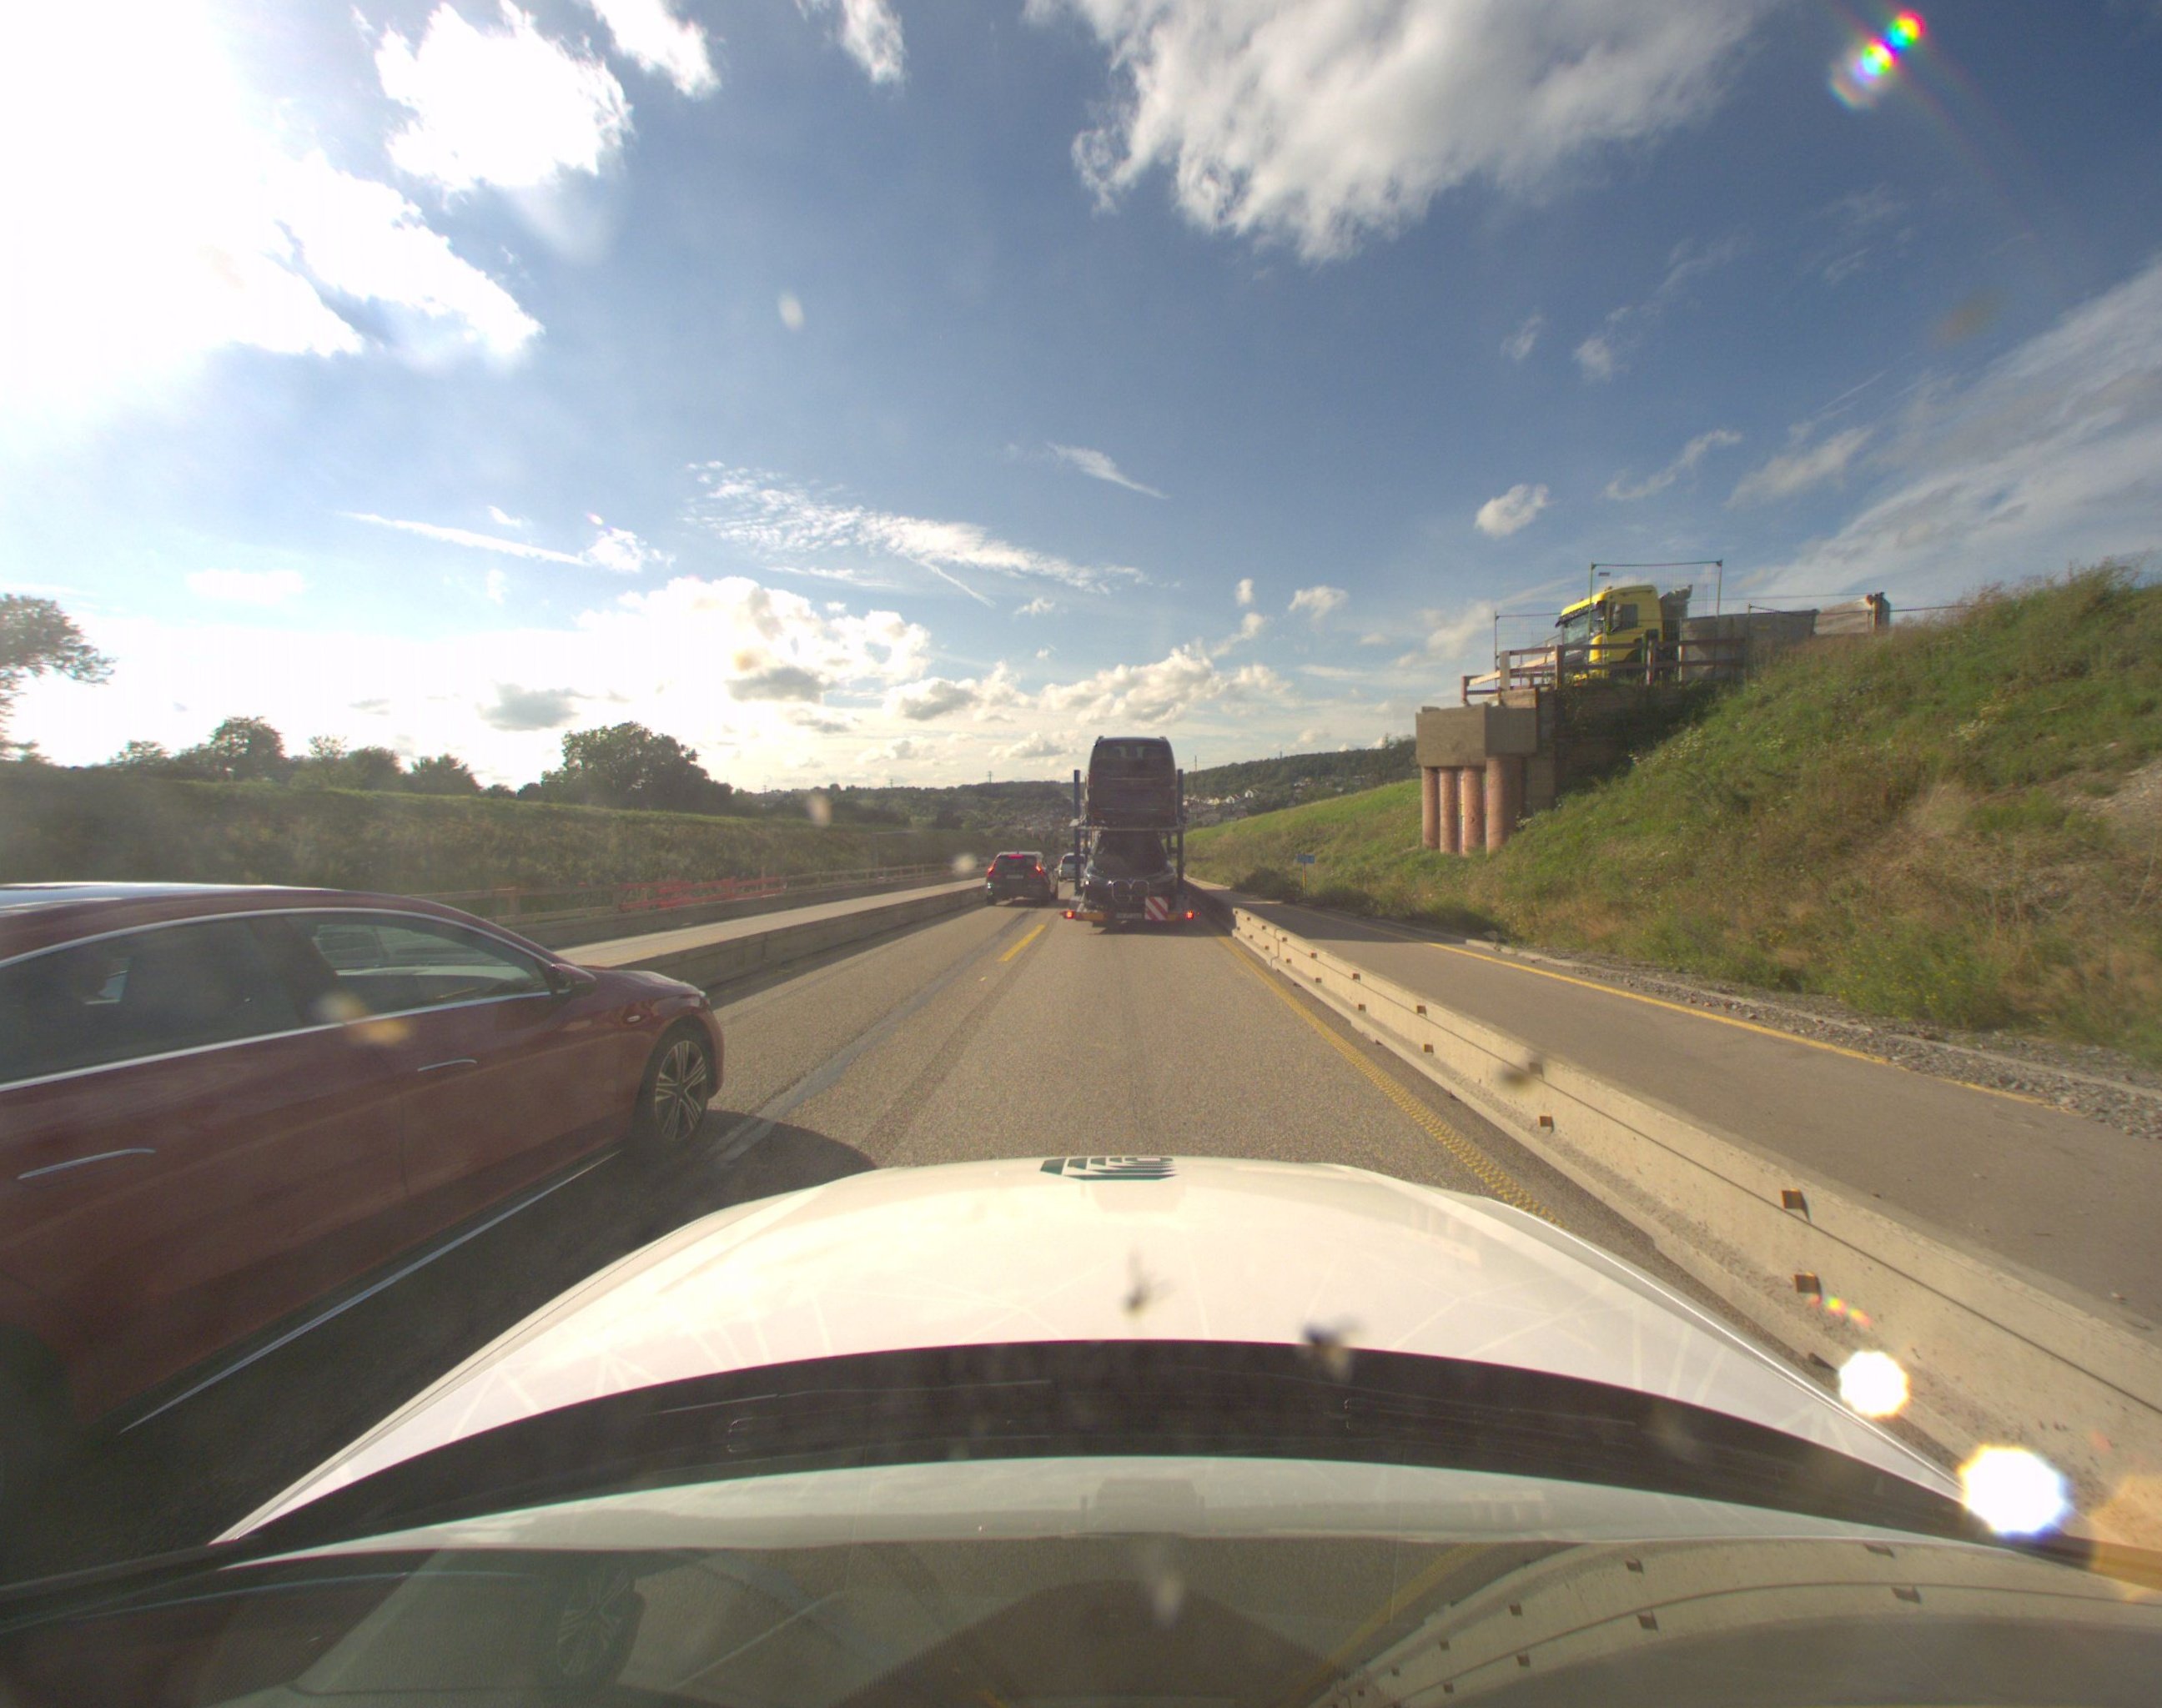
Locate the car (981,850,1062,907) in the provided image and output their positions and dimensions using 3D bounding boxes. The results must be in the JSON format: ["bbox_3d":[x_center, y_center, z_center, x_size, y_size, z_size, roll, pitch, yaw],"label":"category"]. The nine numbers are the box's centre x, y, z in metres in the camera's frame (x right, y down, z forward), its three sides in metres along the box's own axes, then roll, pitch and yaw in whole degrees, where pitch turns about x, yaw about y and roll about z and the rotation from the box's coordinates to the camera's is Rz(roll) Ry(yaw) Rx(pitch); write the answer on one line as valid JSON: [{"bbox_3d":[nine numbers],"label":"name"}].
[{"bbox_3d":[-1.795,0.706,26.033,1.985,1.625,4.754,0,0,3],"label":"car"}]

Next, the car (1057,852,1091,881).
[{"bbox_3d":[-0.352,0.721,47.843,1.789,1.596,4.745,-1,0,2],"label":"car"}]

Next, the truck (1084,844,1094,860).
[{"bbox_3d":[2.262,-0.511,226.967,2.604,4.153,5.785,-1,0,3],"label":"truck"}]

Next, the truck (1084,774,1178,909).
[{"bbox_3d":[1.667,-0.362,26.958,2.666,3.922,6.033,-1,0,3],"label":"truck"}]

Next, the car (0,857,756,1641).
[{"bbox_3d":[-2.982,0.786,2.667,1.816,1.492,4.686,0,0,2],"label":"car"}]

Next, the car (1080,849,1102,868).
[{"bbox_3d":[0.867,0.382,69.264,1.790,1.530,4.296,-1,0,1],"label":"car"}]

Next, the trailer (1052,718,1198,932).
[{"bbox_3d":[1.250,-0.553,21.235,2.696,4.029,11.432,-1,0,4],"label":"trailer"}]

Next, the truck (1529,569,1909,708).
[{"bbox_3d":[19.134,-6.465,24.895,9.230,3.228,2.960,-1,0,1],"label":"truck"}]
